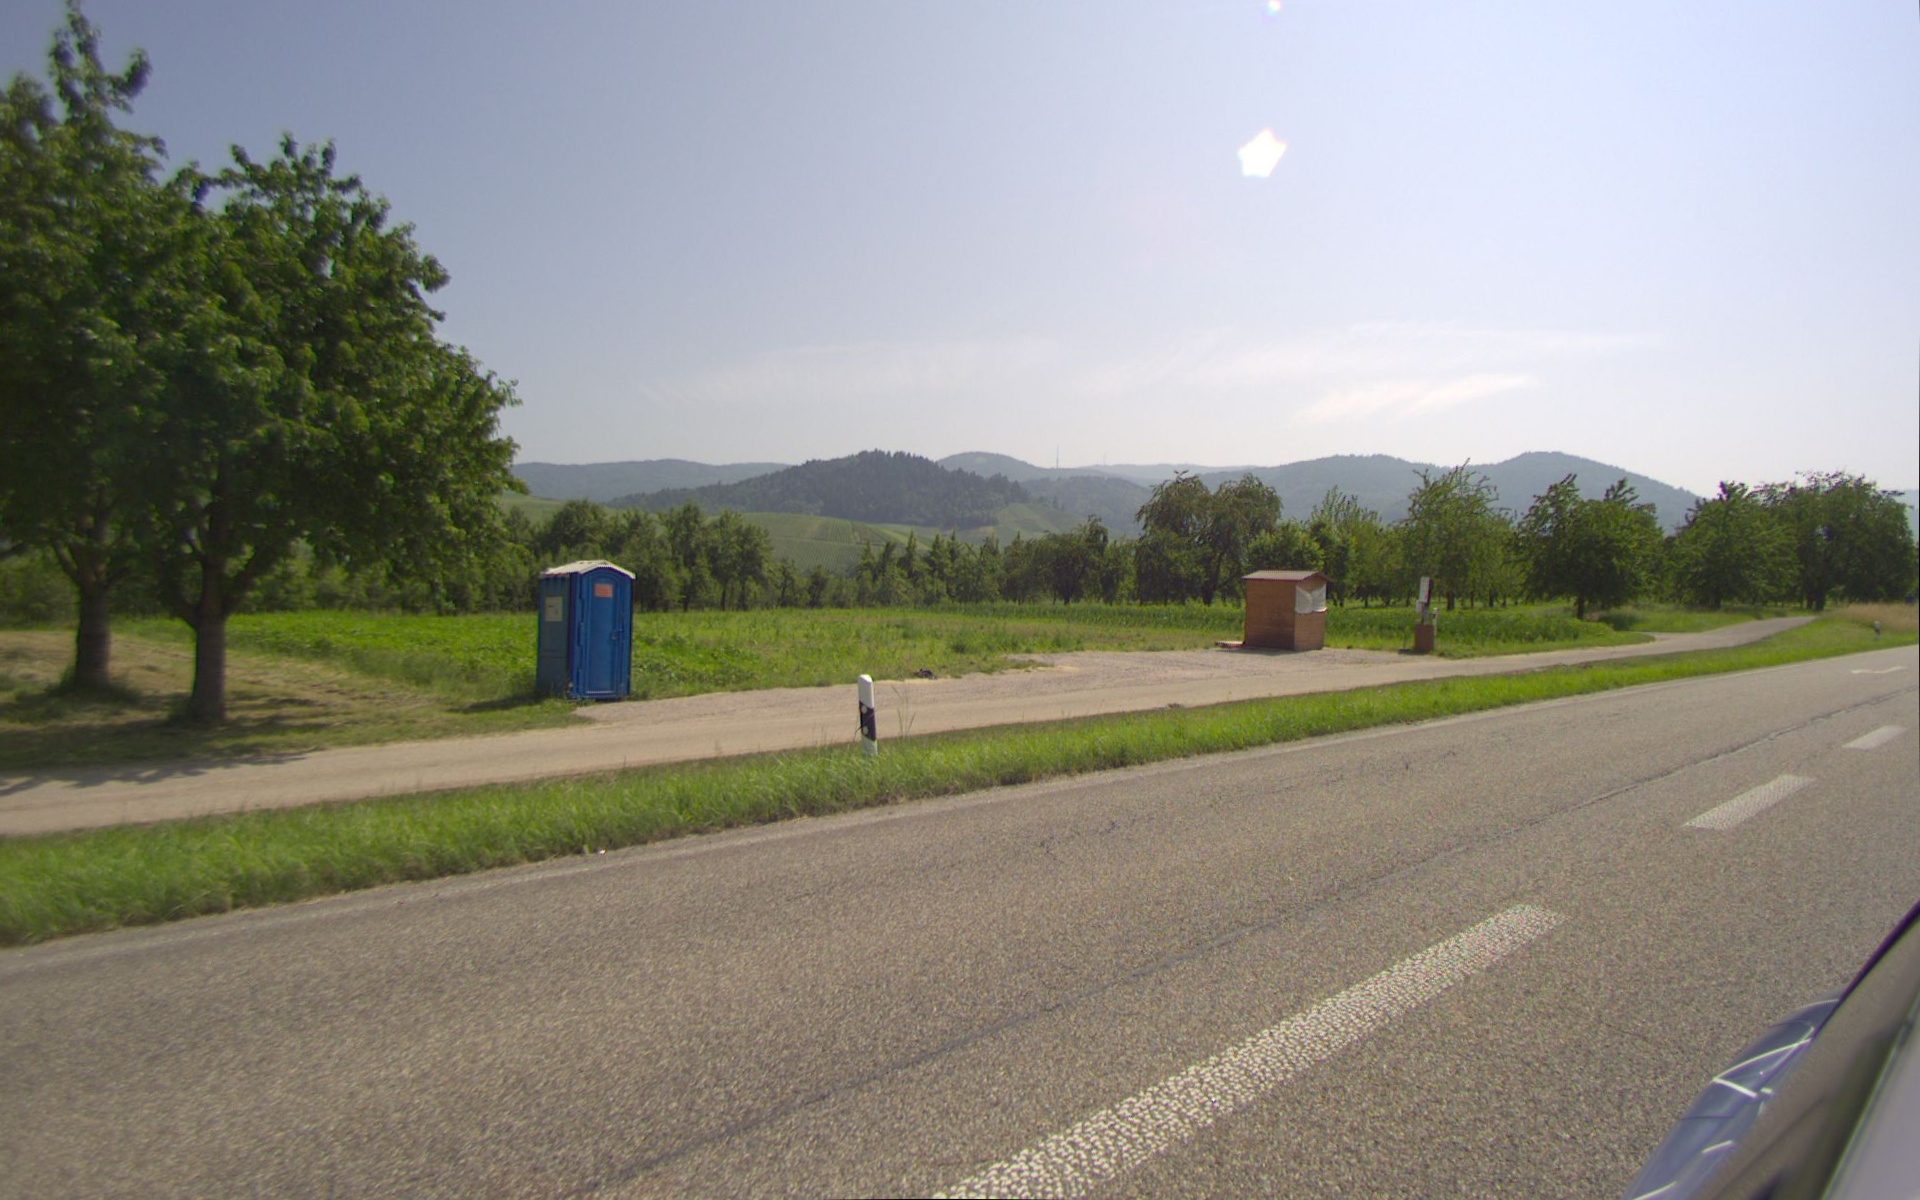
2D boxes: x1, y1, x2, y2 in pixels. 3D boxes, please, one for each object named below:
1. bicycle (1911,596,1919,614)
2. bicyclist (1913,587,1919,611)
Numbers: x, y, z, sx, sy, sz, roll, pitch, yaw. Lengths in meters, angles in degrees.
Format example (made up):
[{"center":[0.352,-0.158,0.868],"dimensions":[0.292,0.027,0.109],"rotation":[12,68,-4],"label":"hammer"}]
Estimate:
[{"center":[78.004,0.380,82.140],"dimensions":[2.178,1.436,0.752],"rotation":[1,1,-34],"label":"bicycle"},{"center":[78.006,-0.055,82.134],"dimensions":[0.812,1.953,0.752],"rotation":[1,1,-34],"label":"bicyclist"}]
